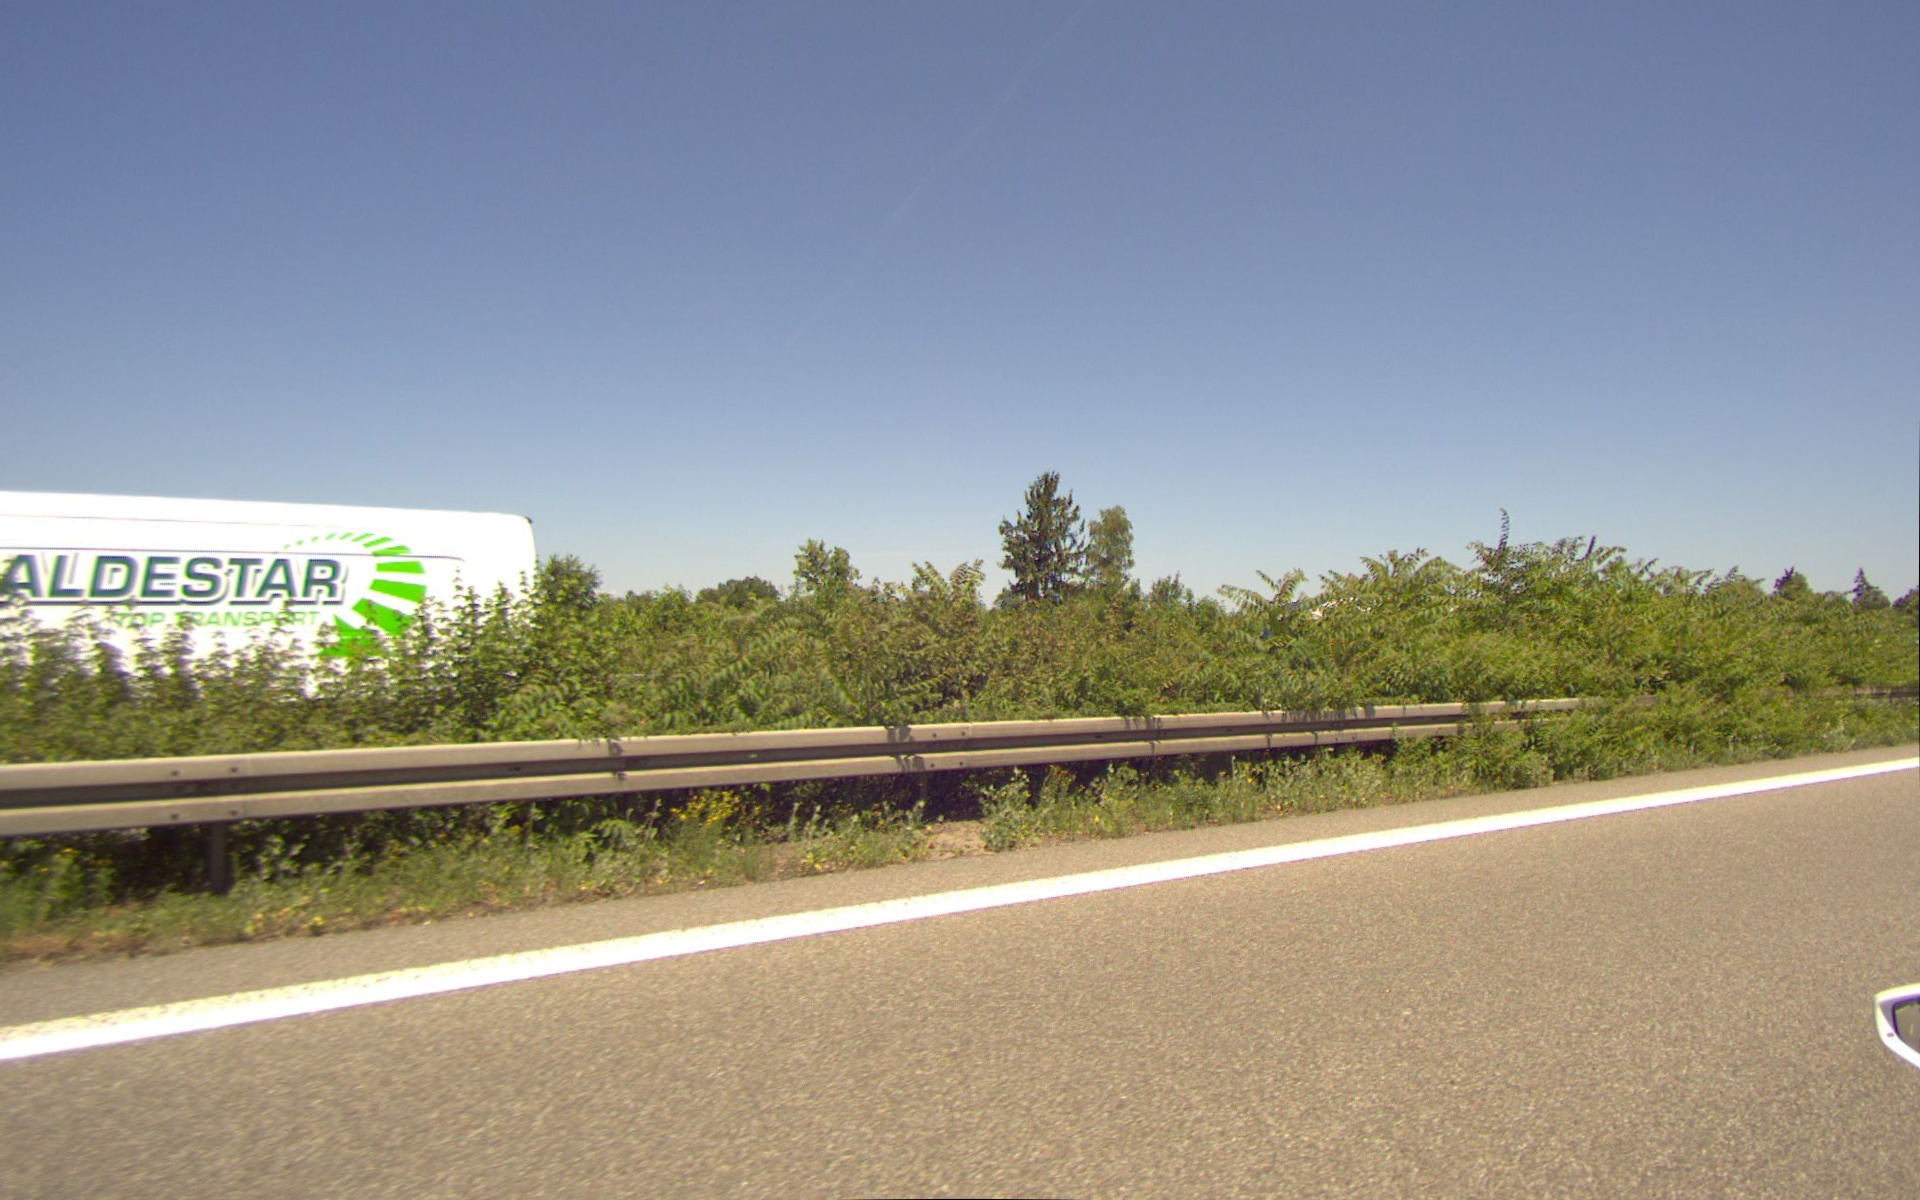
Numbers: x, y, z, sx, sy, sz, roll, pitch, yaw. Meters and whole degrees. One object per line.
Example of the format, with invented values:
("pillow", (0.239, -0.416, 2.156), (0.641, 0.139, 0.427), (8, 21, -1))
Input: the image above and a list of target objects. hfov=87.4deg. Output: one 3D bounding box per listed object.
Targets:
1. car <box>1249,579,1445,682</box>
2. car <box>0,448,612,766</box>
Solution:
("car", (11.335, 0.872, 29.336), (5.454, 2.744, 2.458), (2, 0, -30))
("car", (-6.946, 0.077, 9.456), (6.698, 2.534, 1.798), (2, 0, -30))
